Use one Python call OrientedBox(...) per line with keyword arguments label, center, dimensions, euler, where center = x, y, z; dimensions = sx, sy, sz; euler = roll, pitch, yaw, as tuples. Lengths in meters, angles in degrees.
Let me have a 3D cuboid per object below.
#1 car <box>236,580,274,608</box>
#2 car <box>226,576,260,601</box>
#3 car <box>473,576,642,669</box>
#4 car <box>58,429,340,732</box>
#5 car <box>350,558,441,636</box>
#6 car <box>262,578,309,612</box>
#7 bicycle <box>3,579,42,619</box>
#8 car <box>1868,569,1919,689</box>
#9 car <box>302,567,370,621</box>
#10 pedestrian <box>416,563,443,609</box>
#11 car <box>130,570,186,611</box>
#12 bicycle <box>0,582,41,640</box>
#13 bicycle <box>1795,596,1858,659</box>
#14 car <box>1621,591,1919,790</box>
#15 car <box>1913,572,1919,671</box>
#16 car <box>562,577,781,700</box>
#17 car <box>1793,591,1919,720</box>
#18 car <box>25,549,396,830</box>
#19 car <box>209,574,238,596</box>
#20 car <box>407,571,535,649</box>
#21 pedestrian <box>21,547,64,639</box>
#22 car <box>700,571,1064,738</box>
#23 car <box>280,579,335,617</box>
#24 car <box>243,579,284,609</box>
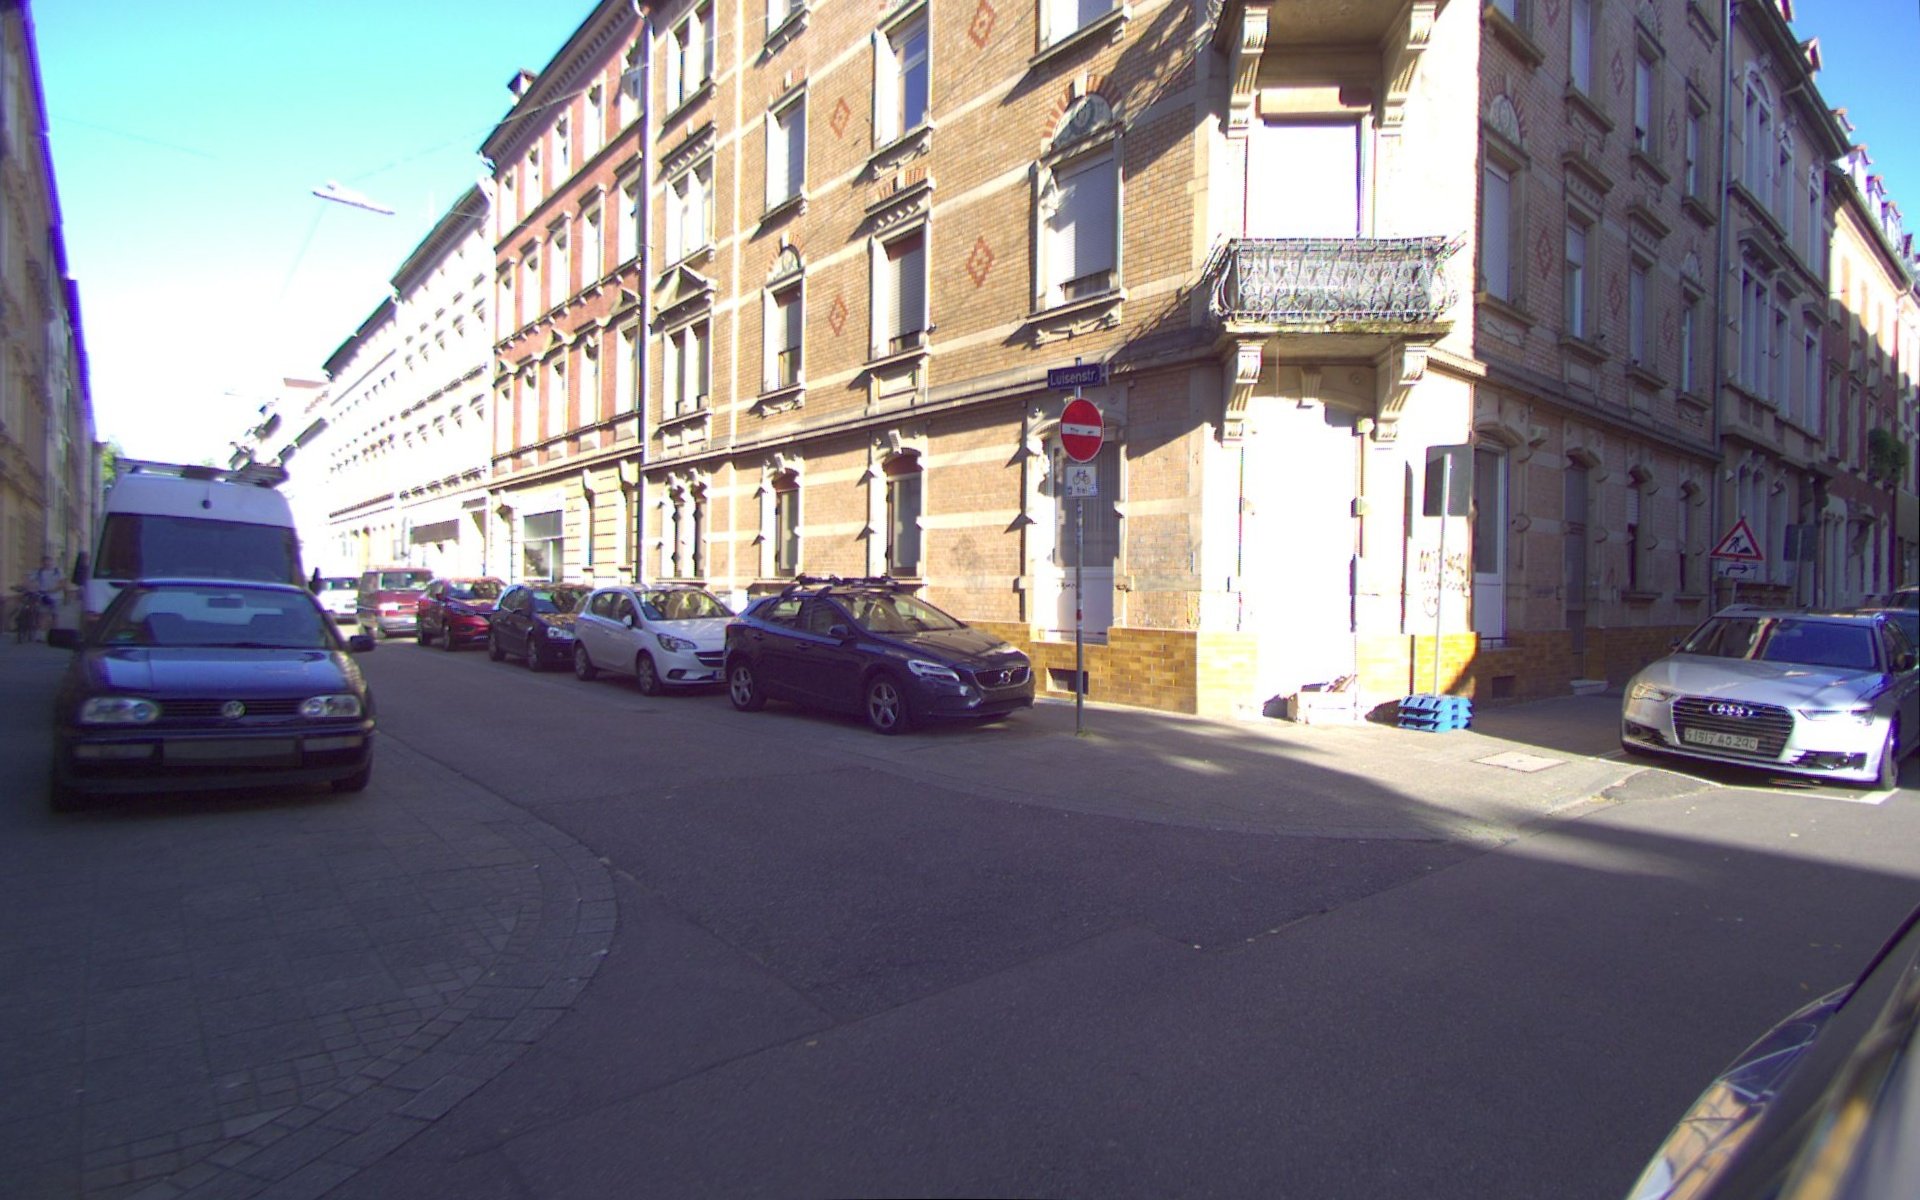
OrientedBox(label="car", center=(-39.865, -0.380, 57.210), dimensions=(1.475, 1.506, 3.522), euler=(-1, 2, -40))
OrientedBox(label="car", center=(-44.581, -0.726, 62.907), dimensions=(1.475, 1.506, 3.522), euler=(-1, 2, -40))
OrientedBox(label="car", center=(-7.384, 0.326, 18.363), dimensions=(1.704, 1.488, 3.995), euler=(0, 1, -40))
OrientedBox(label="car", center=(-9.282, -0.183, 12.229), dimensions=(2.029, 2.685, 6.822), euler=(3, -1, -39))
OrientedBox(label="car", center=(-15.648, -0.107, 27.961), dimensions=(1.510, 1.997, 4.024), euler=(0, 1, -40))
OrientedBox(label="car", center=(-31.526, -0.253, 47.282), dimensions=(1.475, 1.506, 3.522), euler=(-1, 2, -40))
OrientedBox(label="bicycle", center=(-25.946, -0.048, 28.027), dimensions=(0.524, 1.067, 1.782), euler=(0, 1, -34))
OrientedBox(label="car", center=(17.598, 0.472, 17.842), dimensions=(4.188, 1.986, 1.773), euler=(0, -1, -40))
OrientedBox(label="car", center=(-21.930, -0.230, 35.506), dimensions=(1.510, 1.772, 4.053), euler=(0, 1, -40))
OrientedBox(label="pedestrian", center=(-18.499, -0.479, 35.288), dimensions=(0.698, 1.586, 0.723), euler=(0, 1, -40))
OrientedBox(label="car", center=(-30.150, -0.384, 38.002), dimensions=(1.573, 1.443, 3.865), euler=(0, 1, -40))
OrientedBox(label="bicycle", center=(-20.144, 0.214, 21.667), dimensions=(0.580, 1.196, 1.506), euler=(0, 1, -38))
OrientedBox(label="bicycle", center=(19.434, 0.585, 22.687), dimensions=(1.662, 1.319, 0.729), euler=(0, 3, -40))
OrientedBox(label="car", center=(8.031, 0.675, 9.606), dimensions=(4.431, 1.477, 1.709), euler=(0, -1, -40))
OrientedBox(label="car", center=(21.994, 0.422, 21.606), dimensions=(4.657, 2.039, 1.835), euler=(0, -1, -40))
OrientedBox(label="car", center=(-4.344, 0.438, 14.852), dimensions=(1.562, 1.456, 3.995), euler=(-4, 4, -40))
OrientedBox(label="car", center=(12.406, 0.657, 13.236), dimensions=(3.818, 1.498, 1.670), euler=(1, 0, -40))
OrientedBox(label="car", center=(-5.469, 0.453, 7.409), dimensions=(1.702, 1.470, 3.990), euler=(1, 0, -39))
OrientedBox(label="car", center=(-53.853, -1.101, 74.006), dimensions=(1.475, 1.506, 3.522), euler=(-1, 2, -40))
OrientedBox(label="car", center=(-11.175, 0.169, 22.996), dimensions=(1.704, 1.602, 3.995), euler=(0, 1, -40))
OrientedBox(label="pedestrian", center=(-19.956, -0.151, 22.016), dimensions=(0.661, 1.962, 0.662), euler=(0, 0, -45))
OrientedBox(label="car", center=(-1.029, 0.443, 11.448), dimensions=(4.242, 1.488, 1.742), euler=(2, 4, 45))
OrientedBox(label="car", center=(-26.066, -0.108, 40.398), dimensions=(1.474, 1.452, 3.418), euler=(0, 1, -40))
OrientedBox(label="car", center=(-36.920, -0.331, 53.626), dimensions=(1.475, 1.506, 3.522), euler=(-1, 2, -40))
